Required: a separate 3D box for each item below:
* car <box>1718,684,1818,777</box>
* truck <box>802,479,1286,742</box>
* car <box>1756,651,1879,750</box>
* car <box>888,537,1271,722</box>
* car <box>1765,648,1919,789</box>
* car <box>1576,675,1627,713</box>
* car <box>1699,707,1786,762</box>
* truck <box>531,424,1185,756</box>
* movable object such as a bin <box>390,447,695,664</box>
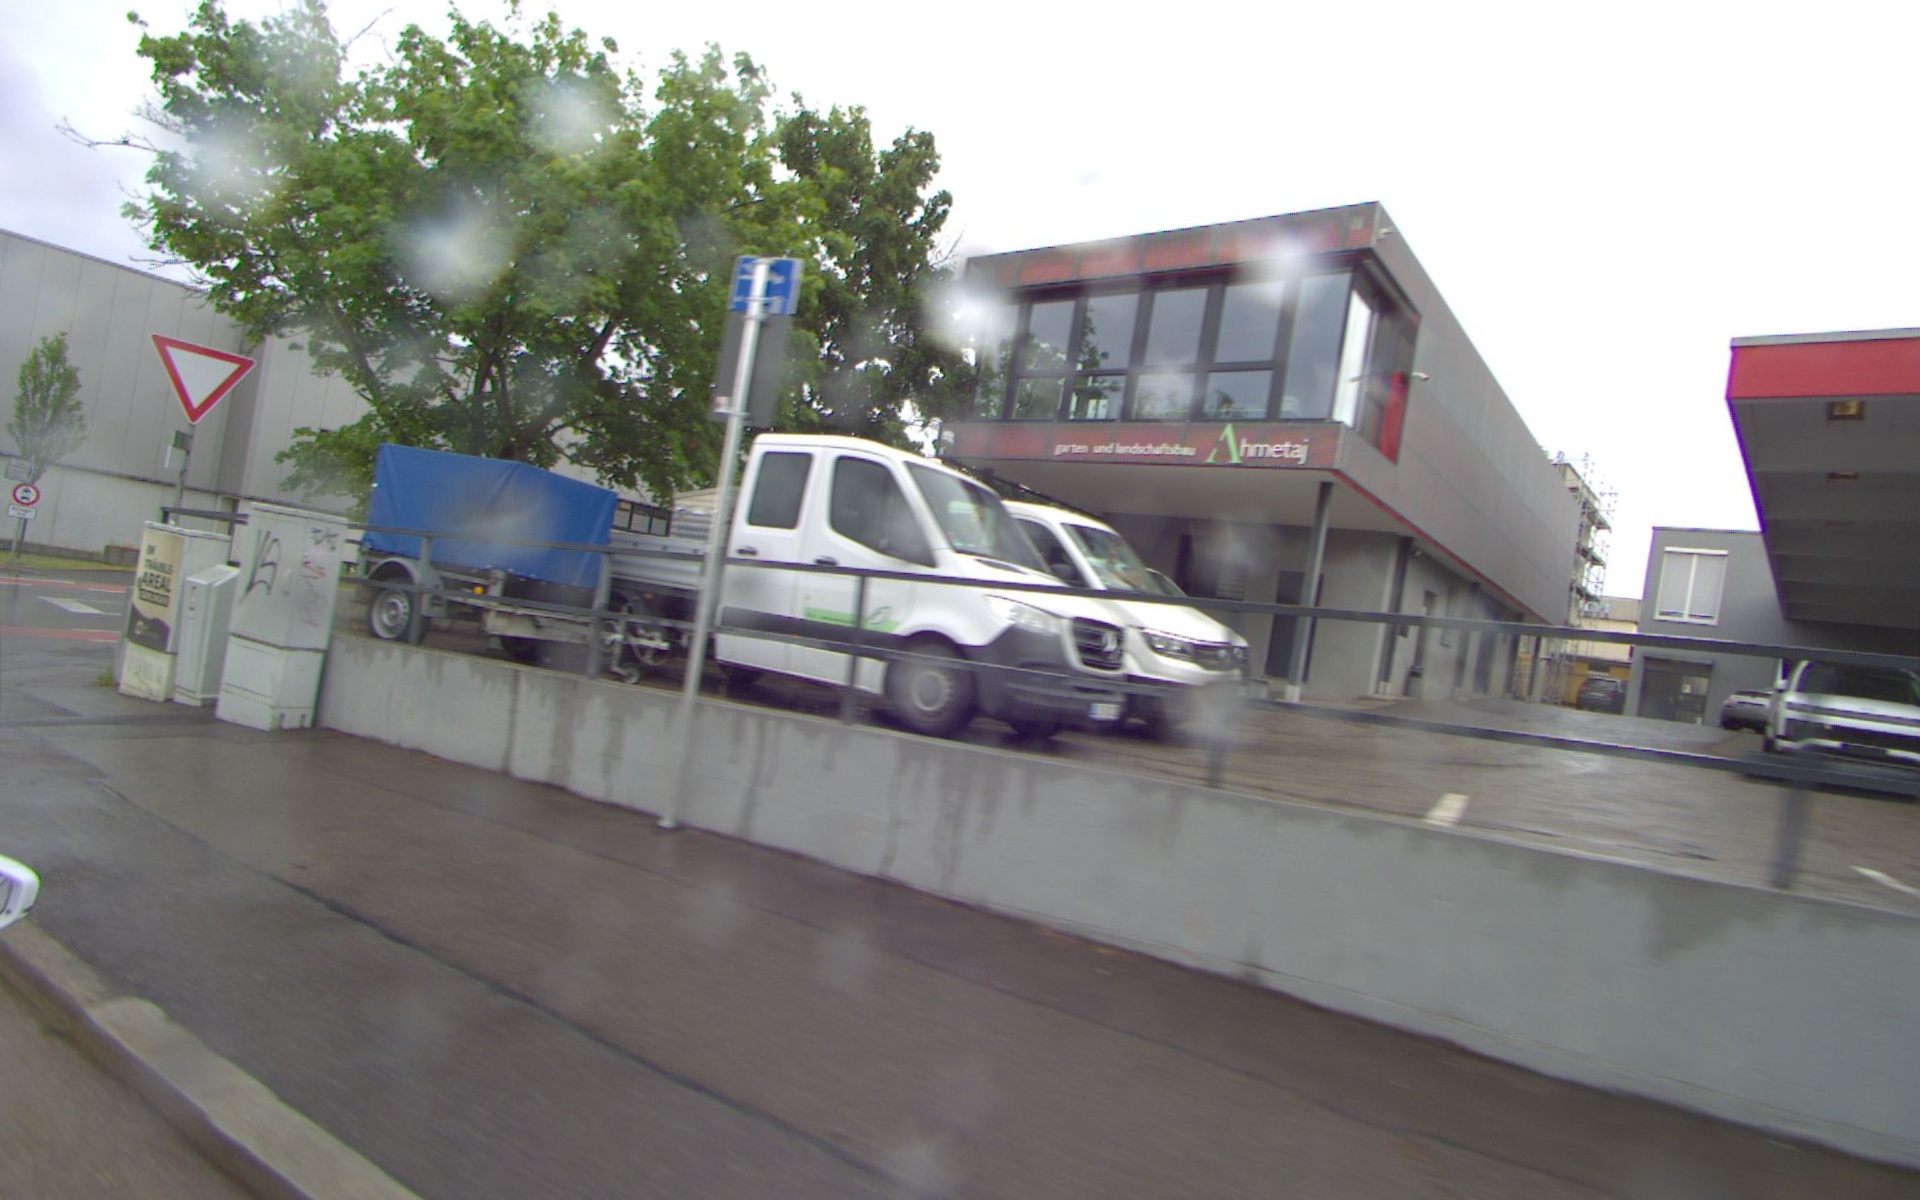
[{"bbox_3d":[21.143,3.372,26.266,1.753,2.038,3.982,6,-1,41],"label":"car"},{"bbox_3d":[0.852,0.045,11.364,4.760,2.369,2.245,5,-2,34],"label":"truck"},{"bbox_3d":[17.646,2.098,20.747,1.647,1.676,3.695,7,-2,41],"label":"car"},{"bbox_3d":[1.591,0.360,14.281,4.862,2.037,2.058,5,-2,36],"label":"car"},{"bbox_3d":[14.131,1.814,15.946,1.832,1.760,3.917,8,1,41],"label":"car"},{"bbox_3d":[30.591,4.499,47.949,1.618,1.489,3.051,5,-3,39],"label":"car"},{"bbox_3d":[25.611,4.349,32.869,1.972,1.415,3.982,6,-1,41],"label":"car"},{"bbox_3d":[-1.093,-0.188,9.109,5.559,2.239,2.109,5,-2,32],"label":"truck"},{"bbox_3d":[-3.443,-0.347,8.392,1.825,1.518,1.311,6,-2,23],"label":"movable object such as a bin"}]
